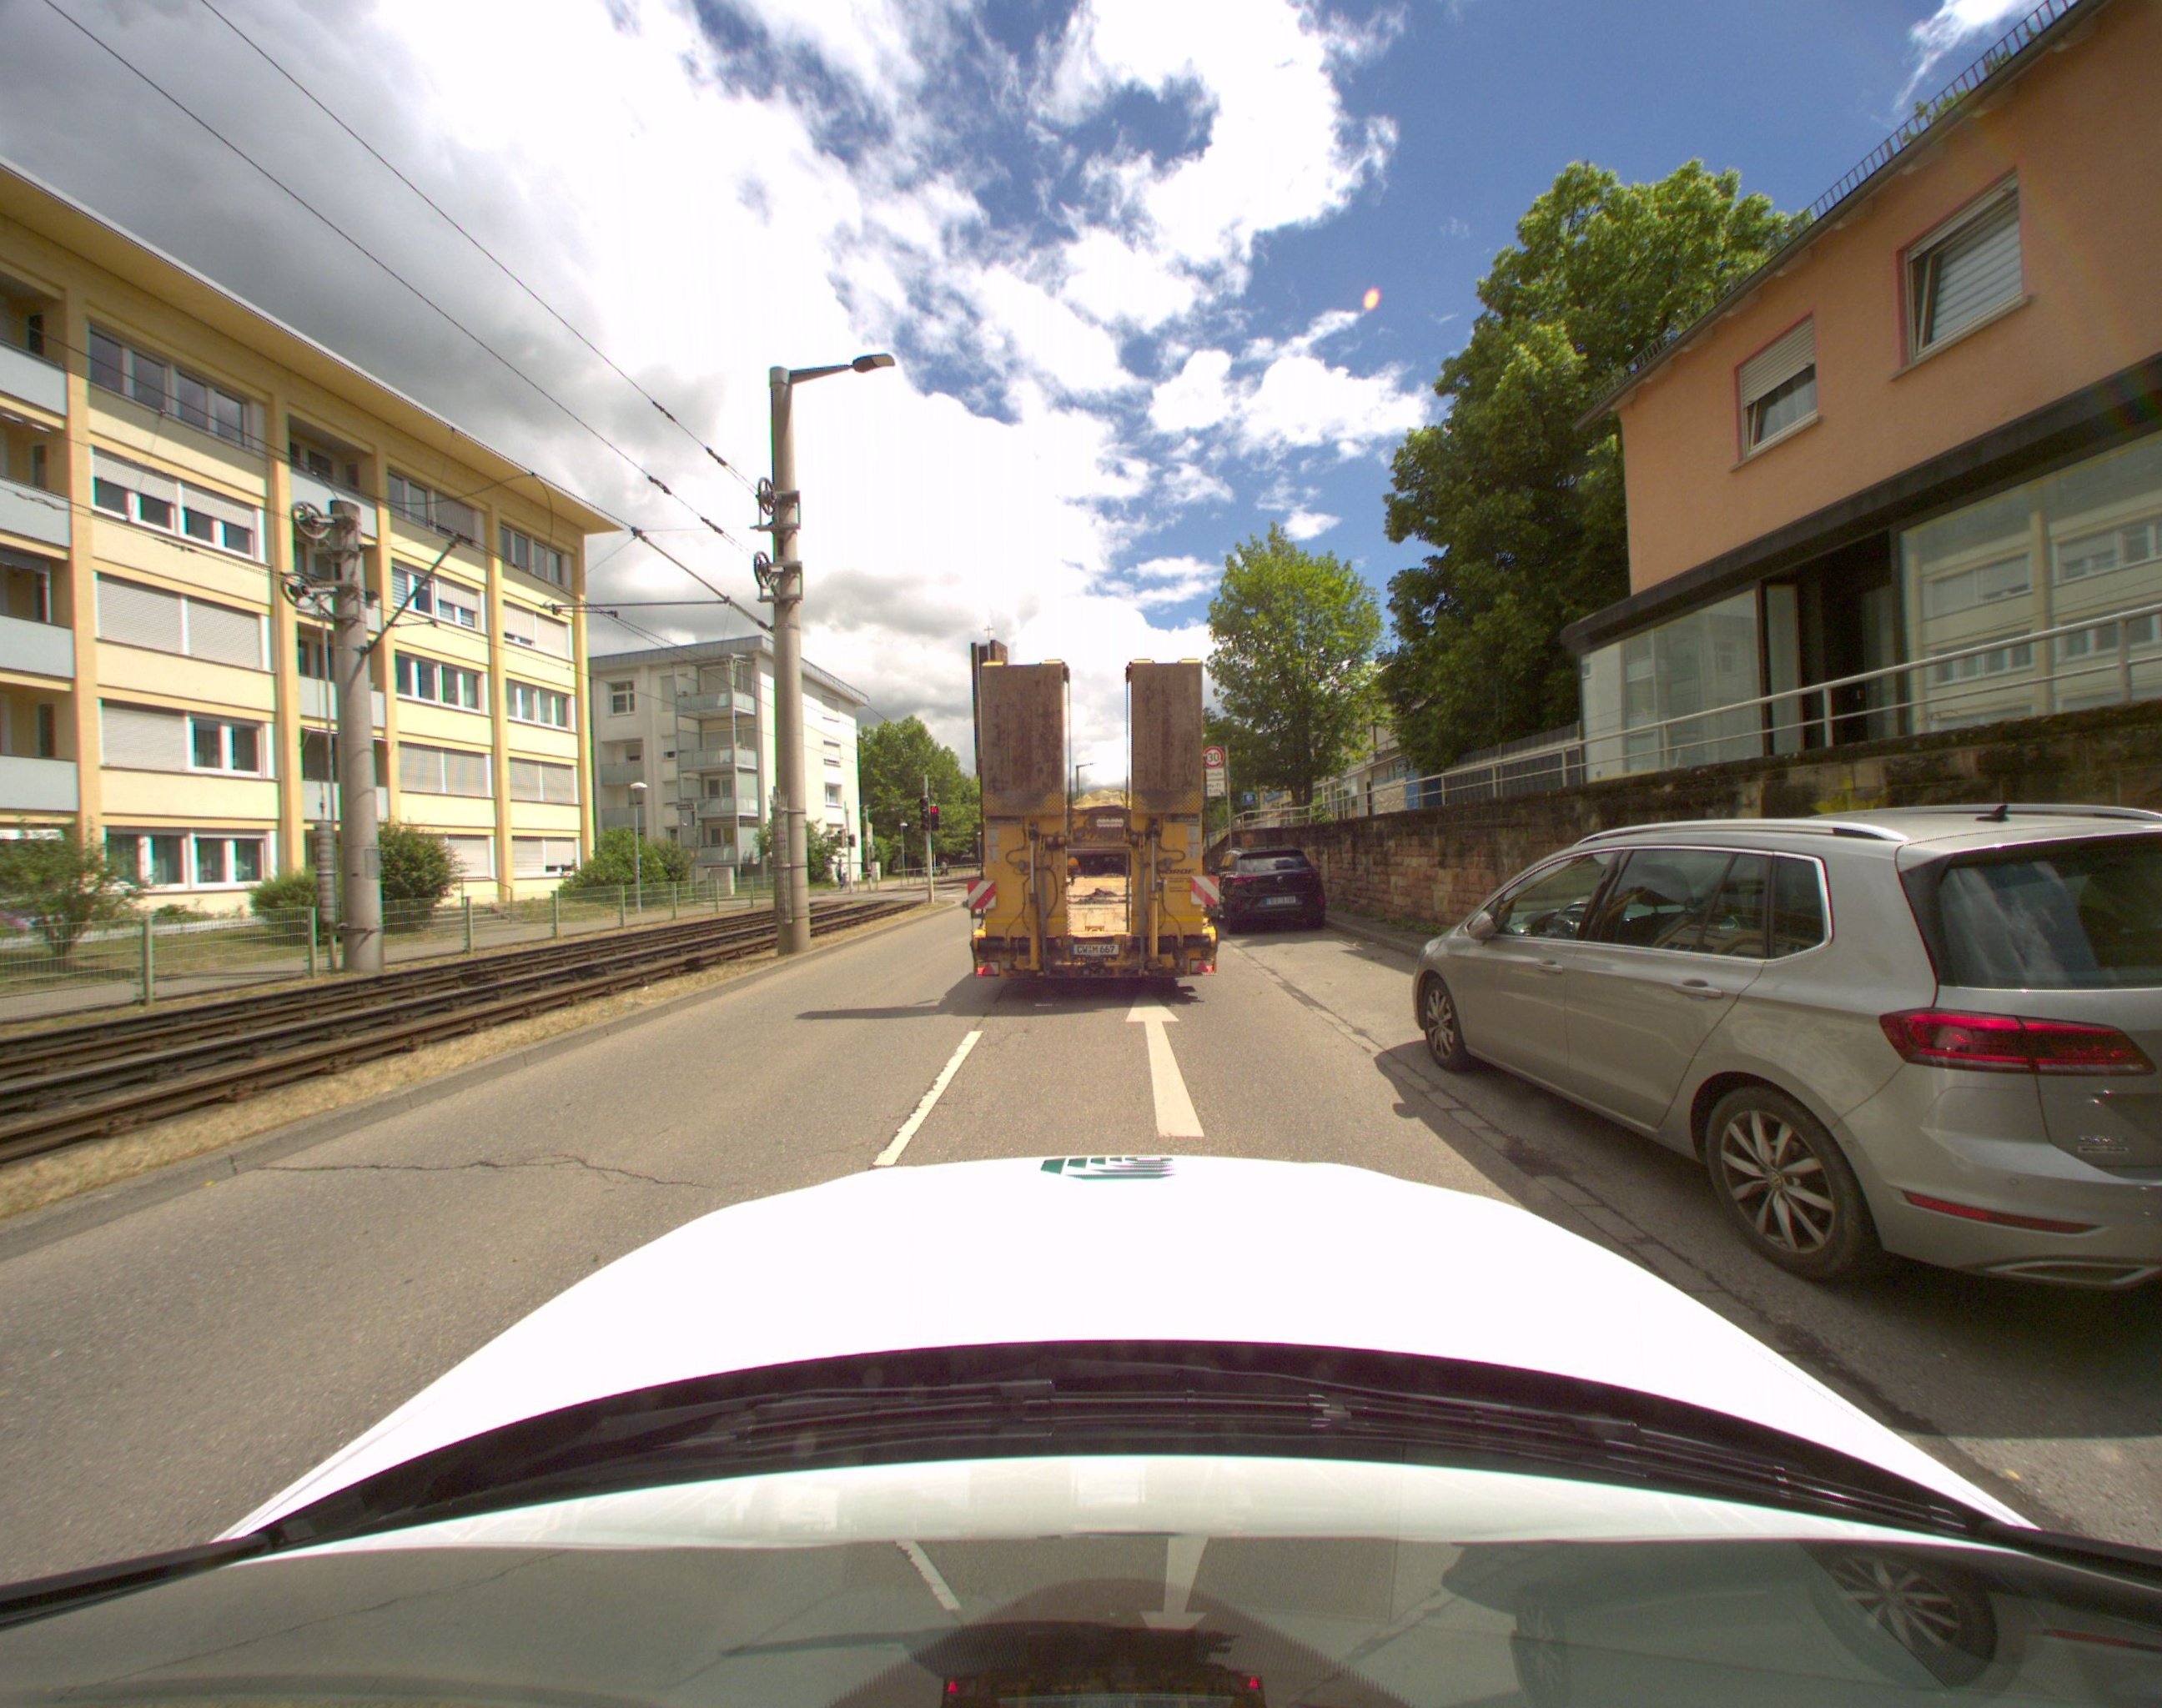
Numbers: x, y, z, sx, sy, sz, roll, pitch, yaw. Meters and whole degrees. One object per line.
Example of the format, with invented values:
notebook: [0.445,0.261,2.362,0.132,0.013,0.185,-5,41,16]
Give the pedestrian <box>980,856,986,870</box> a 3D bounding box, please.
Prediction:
pedestrian: [-10.393,0.964,86.136,0.562,1.513,0.646,0,0,1]

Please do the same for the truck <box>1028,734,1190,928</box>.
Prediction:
truck: [0.630,-0.443,17.869,2.931,3.572,4.879,-2,0,2]

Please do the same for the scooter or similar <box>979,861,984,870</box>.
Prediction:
scooter or similar: [-10.430,1.230,85.482,0.504,0.971,0.646,0,0,1]

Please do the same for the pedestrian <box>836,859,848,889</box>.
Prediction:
pedestrian: [-12.903,1.072,43.959,0.435,1.581,0.475,-2,0,6]

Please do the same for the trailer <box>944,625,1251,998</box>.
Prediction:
trailer: [0.373,-0.429,12.459,2.933,3.601,8.690,-2,0,3]

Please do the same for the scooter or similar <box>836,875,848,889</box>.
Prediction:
scooter or similar: [-12.731,1.483,43.452,0.435,0.747,0.475,-2,0,7]

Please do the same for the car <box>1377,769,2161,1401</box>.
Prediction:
car: [3.215,0.565,4.252,1.783,1.617,4.249,-3,0,1]

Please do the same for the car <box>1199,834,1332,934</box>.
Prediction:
car: [3.523,0.527,16.262,1.843,1.639,4.003,-3,0,3]

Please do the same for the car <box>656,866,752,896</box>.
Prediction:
car: [-19.196,1.373,41.544,3.963,1.345,1.906,-2,0,9]

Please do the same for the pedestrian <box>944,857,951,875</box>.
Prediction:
pedestrian: [-11.377,1.039,69.482,0.346,1.537,0.558,-2,0,5]

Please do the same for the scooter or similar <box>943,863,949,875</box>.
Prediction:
scooter or similar: [-11.423,1.265,68.825,0.336,1.057,0.688,-2,0,4]
